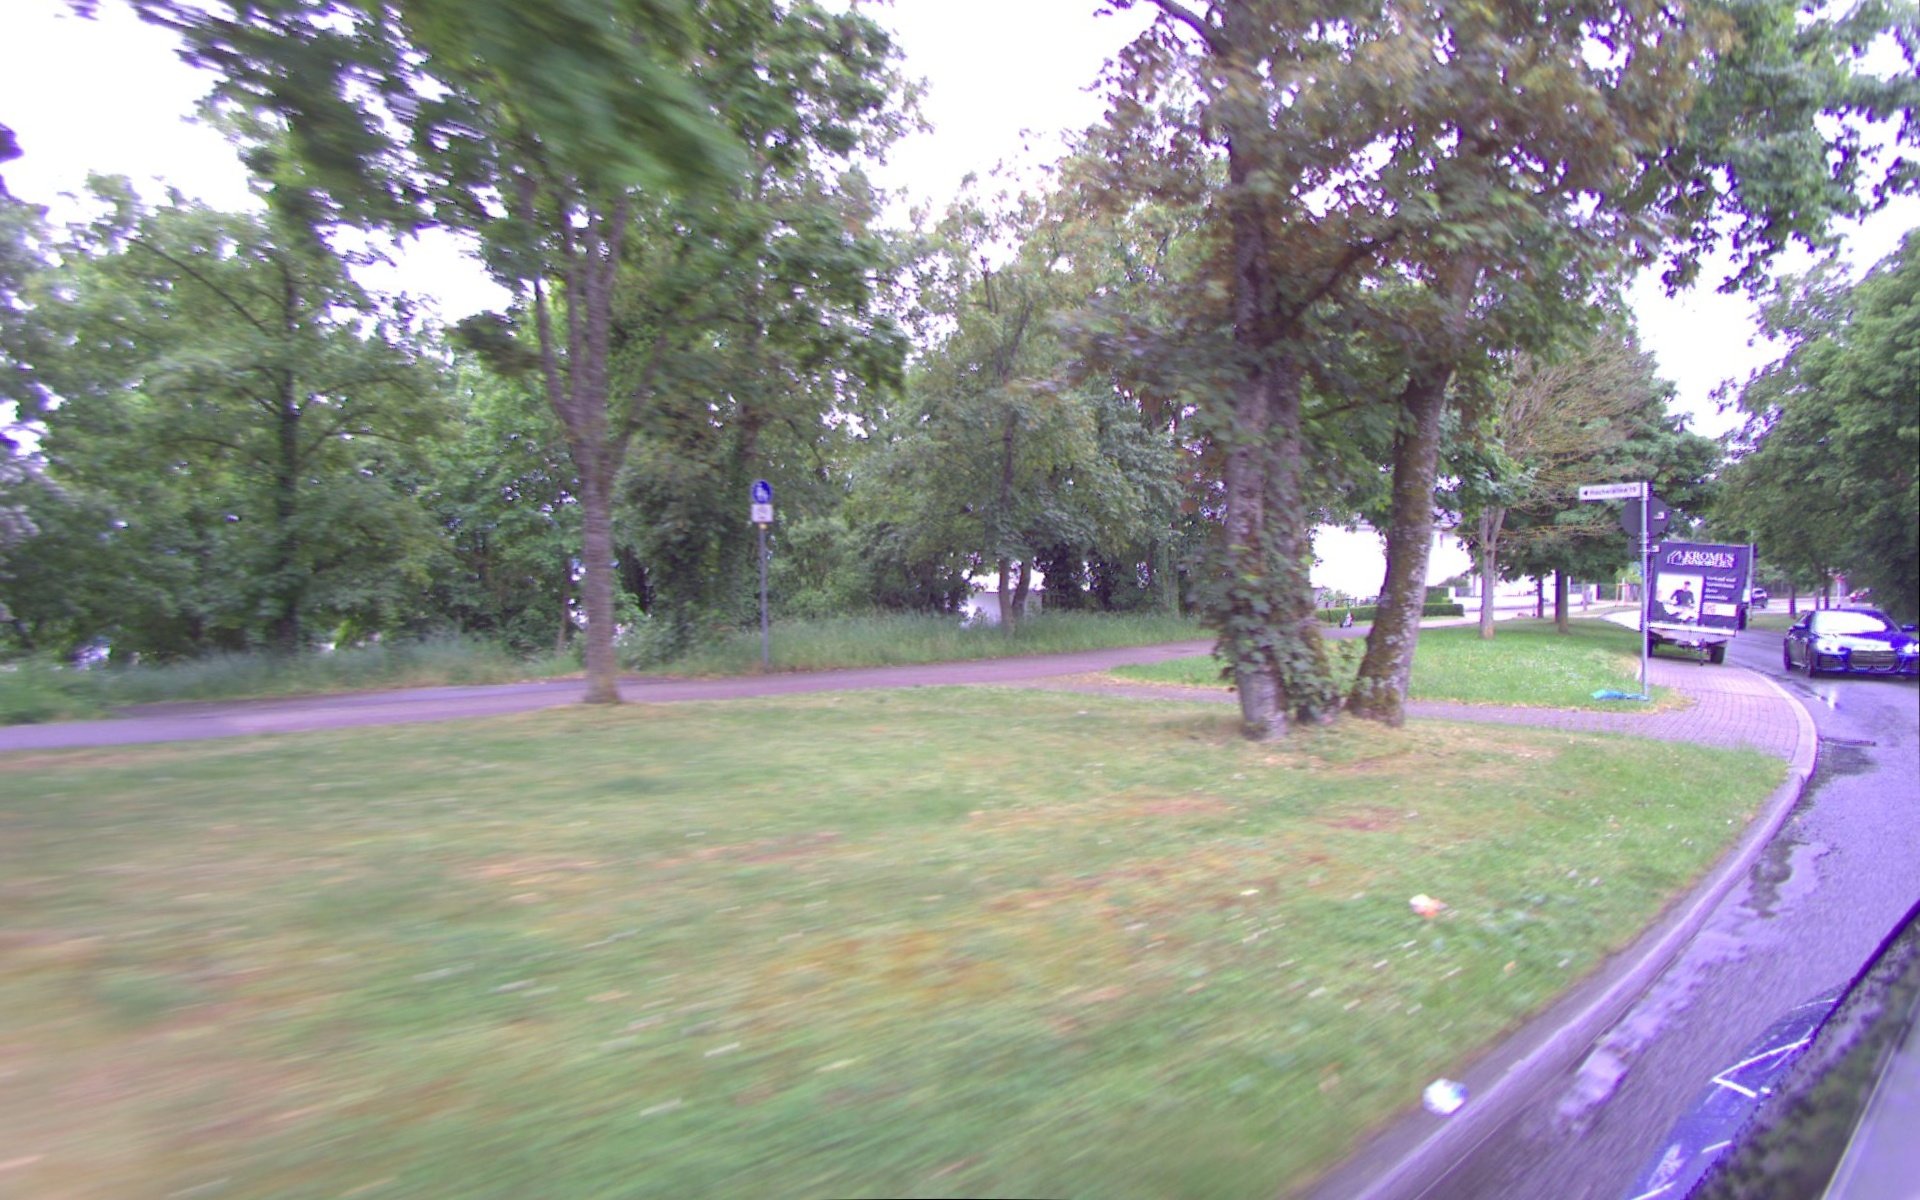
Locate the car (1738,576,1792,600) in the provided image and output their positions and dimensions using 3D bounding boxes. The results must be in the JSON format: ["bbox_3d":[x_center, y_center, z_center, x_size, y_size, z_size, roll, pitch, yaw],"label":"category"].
[{"bbox_3d":[66.723,-1.001,83.858,3.919,1.882,2.002,-2,0,-27],"label":"car"}]

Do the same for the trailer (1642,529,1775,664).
[{"bbox_3d":[18.437,-0.132,25.191,1.987,2.841,5.543,7,4,32],"label":"trailer"}]

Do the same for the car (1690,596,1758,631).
[{"bbox_3d":[39.722,0.668,52.726,1.837,1.713,4.369,0,0,24],"label":"car"}]

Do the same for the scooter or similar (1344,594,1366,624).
[{"bbox_3d":[15.710,0.356,40.235,0.462,1.161,1.284,3,2,36],"label":"scooter or similar"}]

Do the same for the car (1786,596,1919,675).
[{"bbox_3d":[19.734,0.713,22.253,1.801,1.486,3.933,-1,1,30],"label":"car"}]
